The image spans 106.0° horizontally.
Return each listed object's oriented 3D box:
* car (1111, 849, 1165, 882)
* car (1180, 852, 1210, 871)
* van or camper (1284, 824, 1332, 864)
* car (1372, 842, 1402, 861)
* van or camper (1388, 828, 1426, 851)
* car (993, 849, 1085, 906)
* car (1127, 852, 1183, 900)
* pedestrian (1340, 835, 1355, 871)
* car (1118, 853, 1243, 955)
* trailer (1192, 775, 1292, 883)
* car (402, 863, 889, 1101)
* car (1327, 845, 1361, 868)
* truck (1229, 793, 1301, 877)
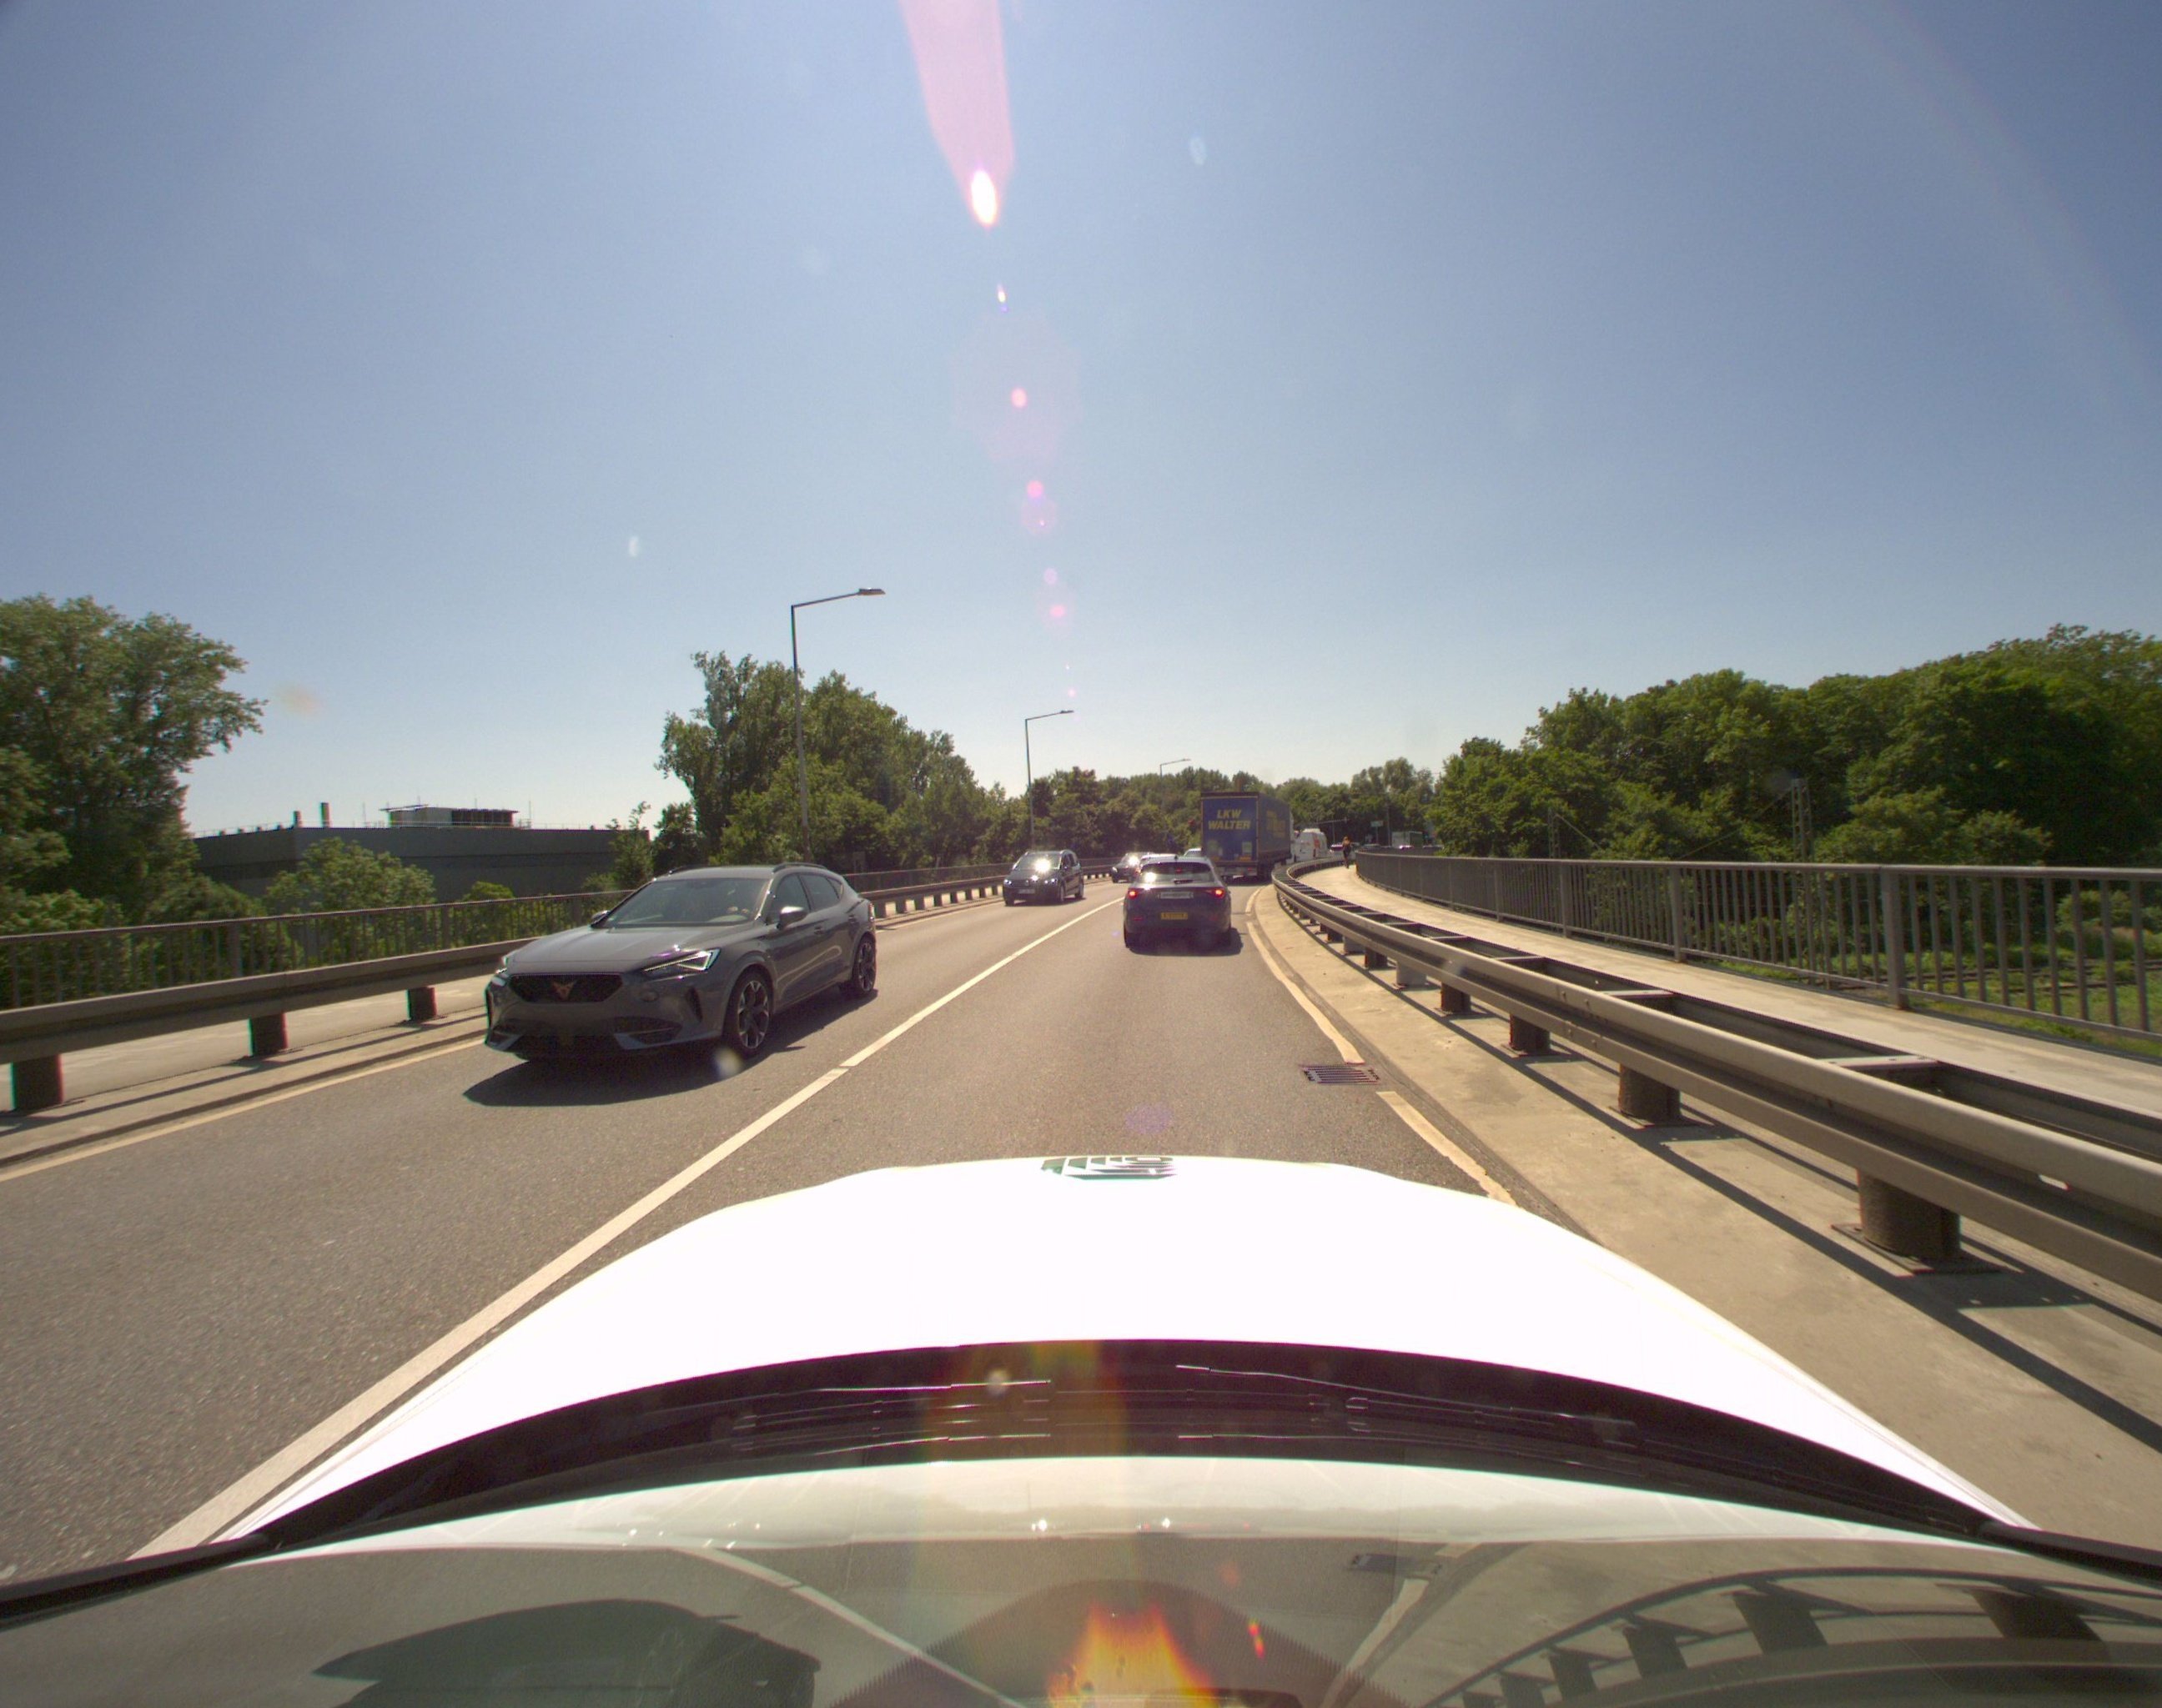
[{"bbox_3d":[2.875,0.554,40.497,1.688,1.510,3.599,-3,-1,20],"label":"car"},{"bbox_3d":[7.464,0.467,53.158,1.240,1.176,2.936,-1,-1,22],"label":"car"},{"bbox_3d":[16.400,-0.731,58.683,2.182,2.711,5.961,-1,0,26],"label":"van or camper"},{"bbox_3d":[31.214,-0.274,82.989,1.870,1.850,4.025,-2,-1,35],"label":"car"},{"bbox_3d":[39.088,-1.724,97.589,2.461,2.292,4.989,5,0,42],"label":"van or camper"},{"bbox_3d":[-1.233,0.707,25.934,1.893,1.589,4.013,-2,-1,11],"label":"car"},{"bbox_3d":[2.489,0.689,26.727,1.584,1.461,3.553,-1,-1,9],"label":"car"},{"bbox_3d":[15.064,-0.056,46.043,0.730,1.967,0.738,-1,-1,23],"label":"pedestrian"},{"bbox_3d":[1.644,0.749,14.135,1.837,1.499,3.763,-1,0,5],"label":"car"},{"bbox_3d":[8.512,-1.016,41.246,3.108,4.614,13.011,-1,-1,19],"label":"trailer"},{"bbox_3d":[-3.383,0.869,7.494,1.878,1.497,4.321,-2,-1,4],"label":"car"},{"bbox_3d":[21.857,0.196,67.630,1.870,1.850,4.025,-1,-1,30],"label":"car"},{"bbox_3d":[11.078,-0.989,48.466,3.143,4.585,7.433,-1,-1,20],"label":"truck"}]
